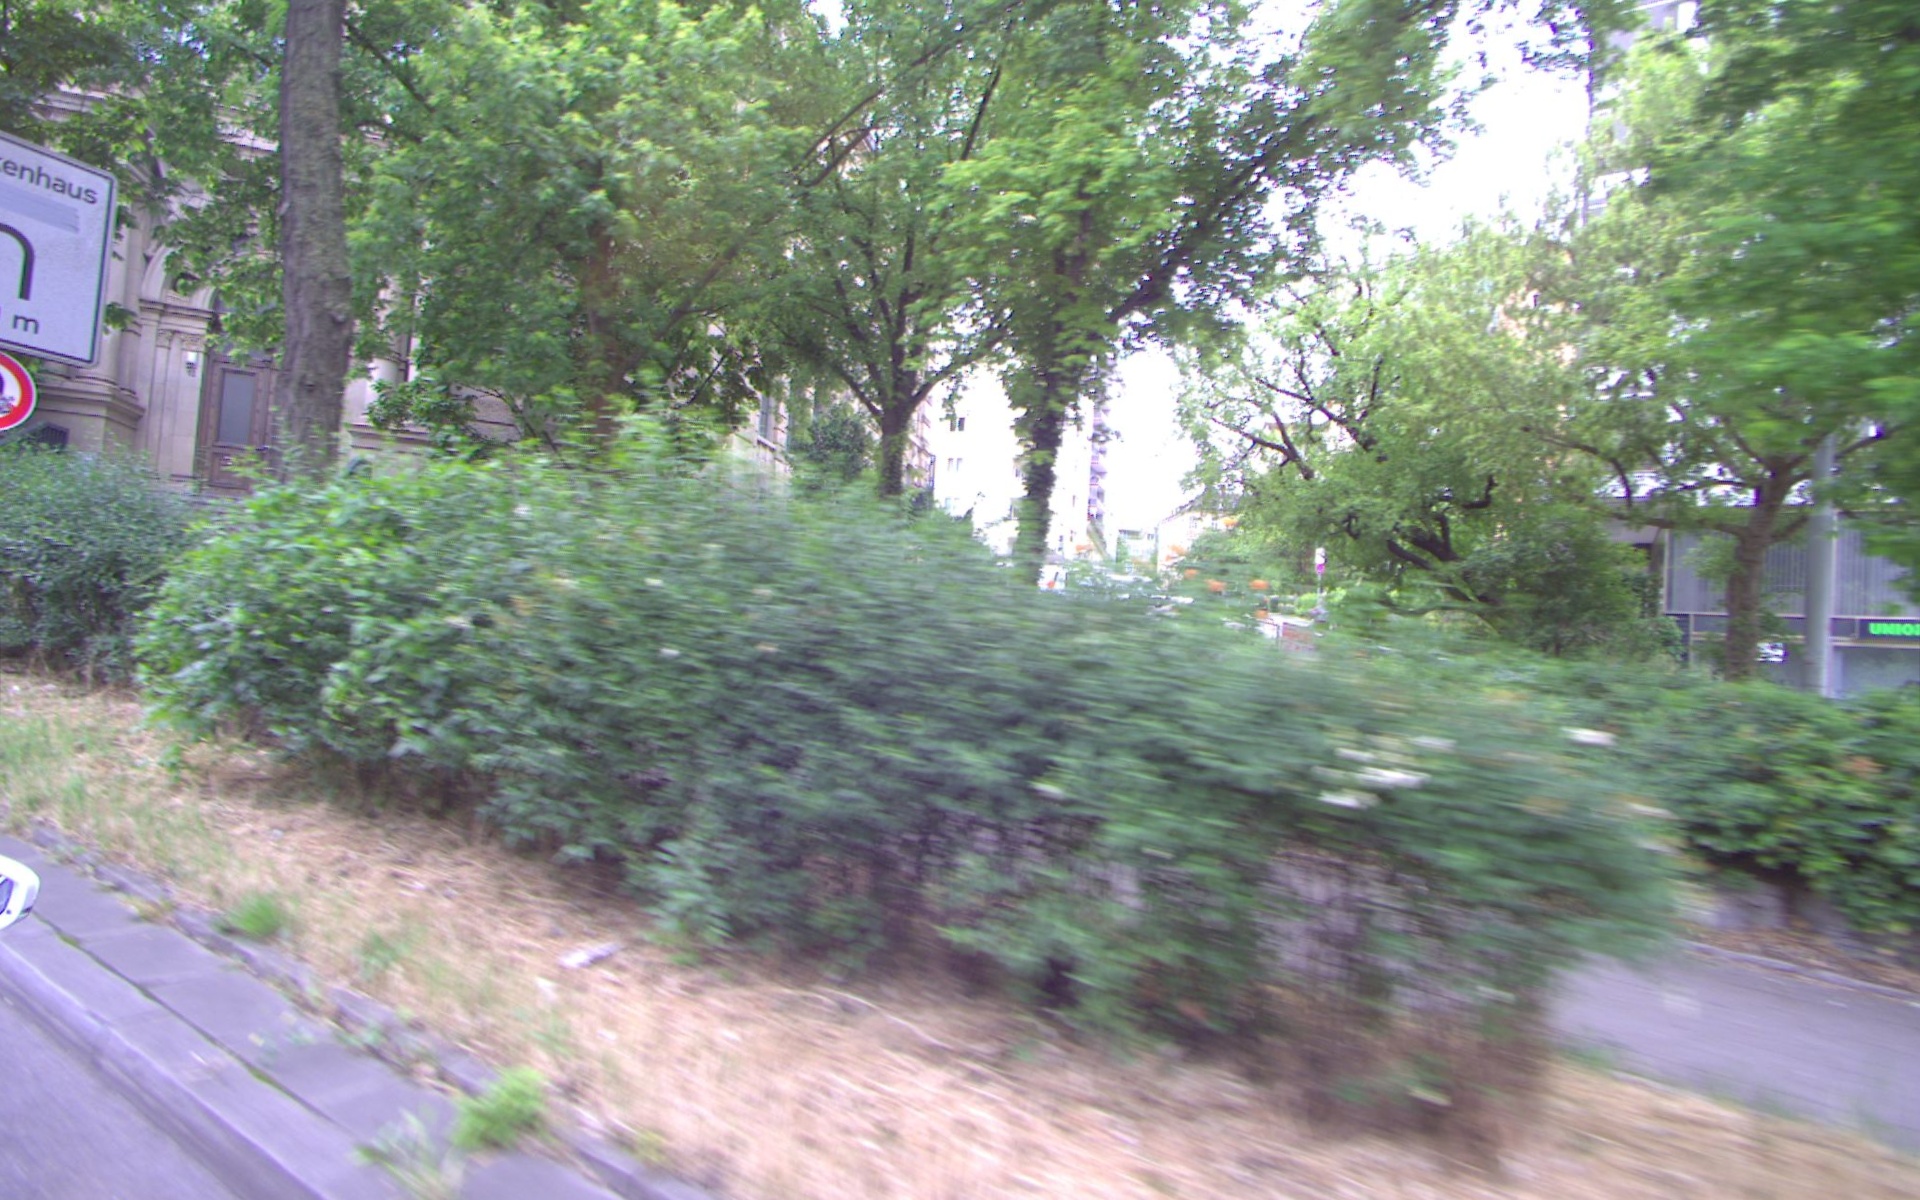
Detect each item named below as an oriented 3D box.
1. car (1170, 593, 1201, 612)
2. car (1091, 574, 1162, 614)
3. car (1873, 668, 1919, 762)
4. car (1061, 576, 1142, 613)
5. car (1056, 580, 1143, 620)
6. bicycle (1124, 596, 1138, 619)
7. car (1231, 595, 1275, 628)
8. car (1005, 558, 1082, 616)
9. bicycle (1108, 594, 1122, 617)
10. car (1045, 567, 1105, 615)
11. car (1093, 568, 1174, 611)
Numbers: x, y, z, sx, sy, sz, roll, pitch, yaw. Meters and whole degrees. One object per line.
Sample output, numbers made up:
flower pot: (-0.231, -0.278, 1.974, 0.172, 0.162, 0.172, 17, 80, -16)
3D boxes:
car: (19.058, 0.233, 85.324, 1.962, 1.371, 4.002, 7, 0, 6)
car: (12.009, -0.423, 72.588, 4.796, 2.246, 2.001, 7, 0, 11)
car: (19.027, 2.245, 19.080, 1.804, 1.592, 3.986, 6, 2, 34)
car: (8.914, -0.343, 63.079, 4.796, 1.756, 2.001, 7, 0, 11)
car: (8.218, 0.022, 59.068, 4.796, 1.756, 2.001, 7, 0, 11)
bicycle: (9.472, 0.413, 55.796, 0.597, 1.057, 2.069, 7, -2, 9)
car: (18.425, 0.712, 63.443, 1.962, 1.777, 4.889, 6, 1, 10)
car: (3.310, -0.482, 38.904, 2.136, 1.959, 5.215, 4, 1, 13)
bicycle: (8.626, 0.298, 55.915, 0.597, 1.057, 2.069, 7, -2, 10)
car: (5.185, -0.348, 44.746, 1.962, 1.776, 4.890, 7, 0, 13)
car: (13.906, -0.842, 80.672, 6.080, 2.669, 2.001, 7, 0, 13)
